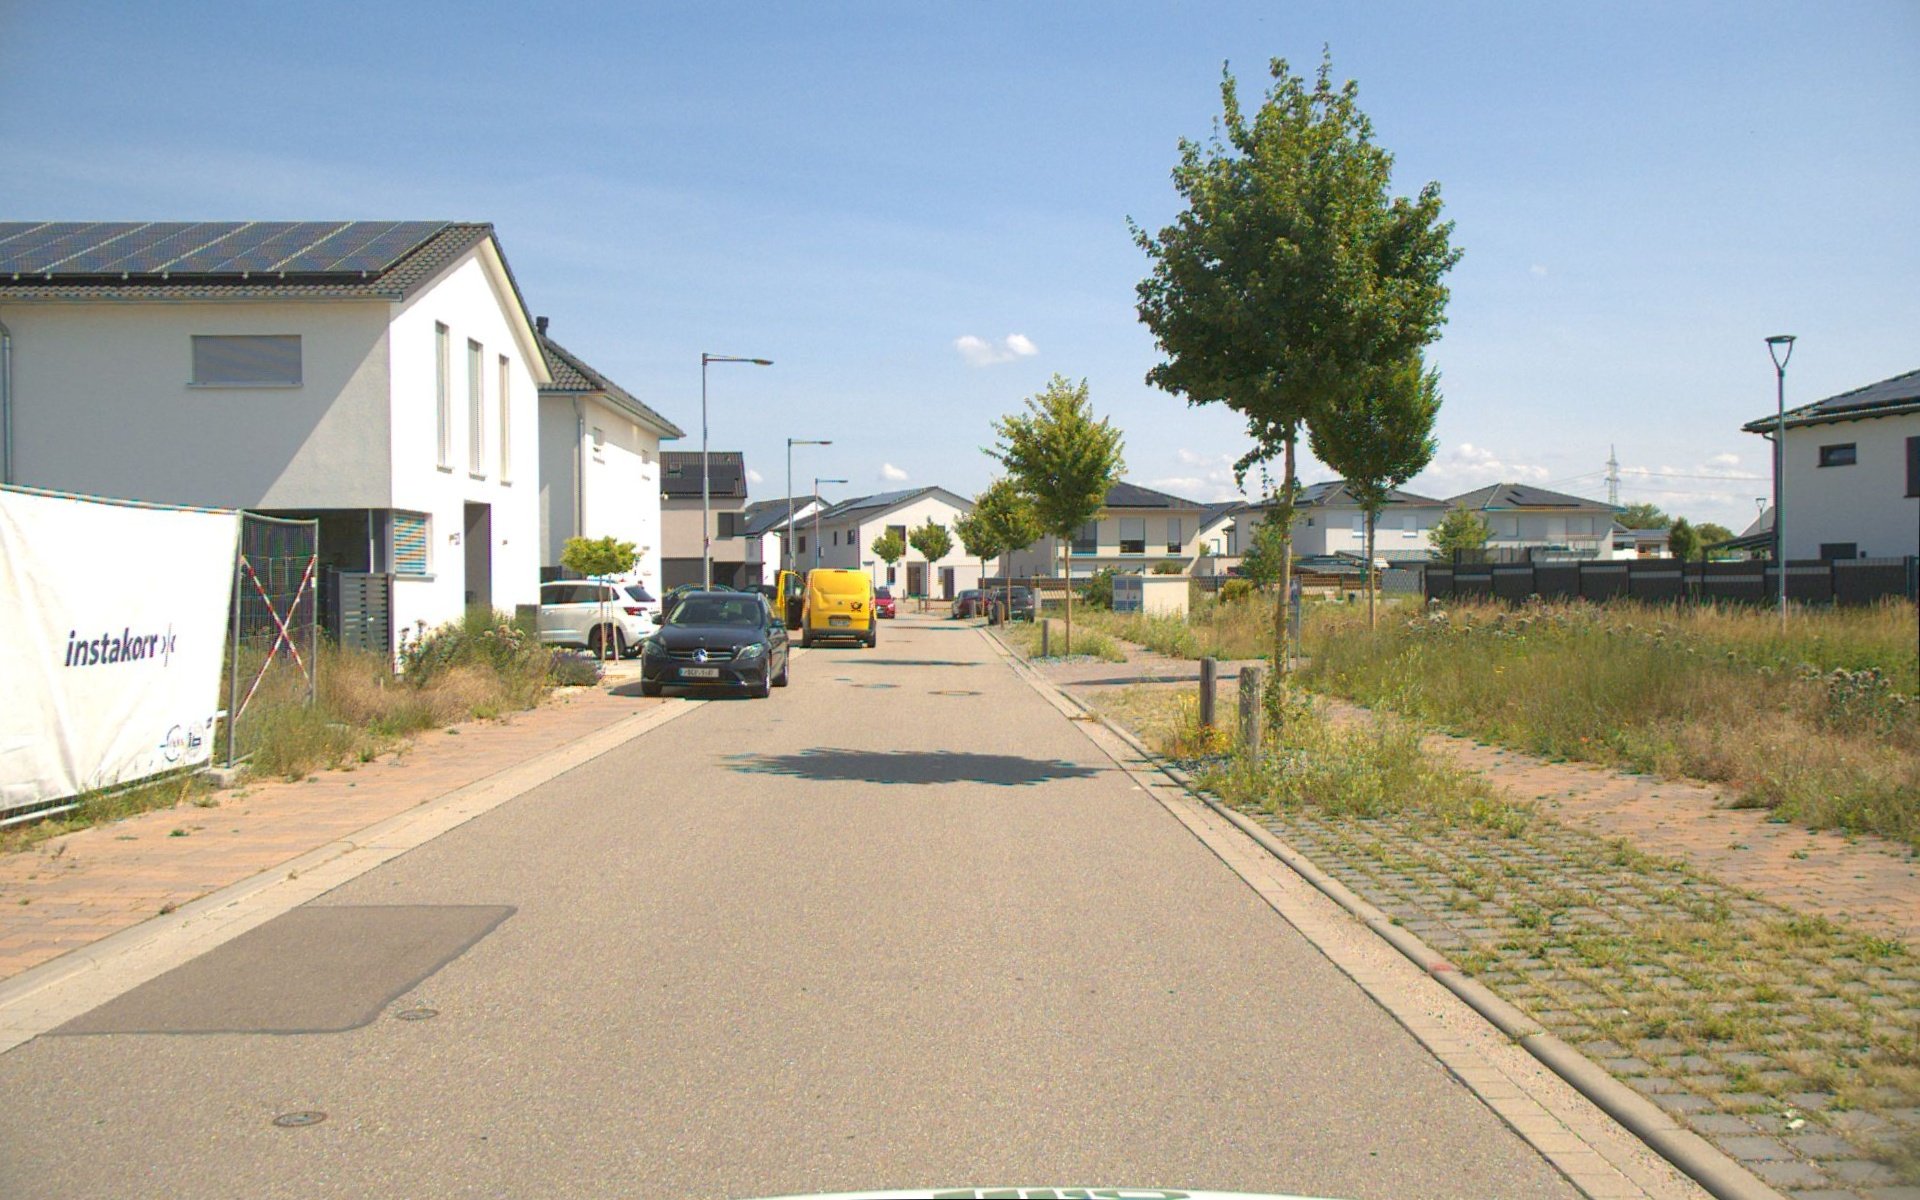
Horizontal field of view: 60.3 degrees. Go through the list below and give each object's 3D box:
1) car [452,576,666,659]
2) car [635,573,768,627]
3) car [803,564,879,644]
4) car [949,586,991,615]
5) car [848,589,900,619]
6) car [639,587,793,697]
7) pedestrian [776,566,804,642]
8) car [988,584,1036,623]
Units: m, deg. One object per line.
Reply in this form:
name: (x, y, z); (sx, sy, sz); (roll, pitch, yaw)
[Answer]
car: (-8.345, 0.340, 34.618); (3.983, 1.609, 1.785); (1, 1, 4)
car: (-8.613, 0.008, 54.989); (4.095, 1.531, 1.807); (3, -1, -17)
car: (-3.212, 0.111, 44.370); (1.903, 2.016, 4.213); (-1, 0, -5)
car: (0.493, 0.021, 83.136); (1.597, 1.346, 3.826); (-1, -2, -8)
car: (-4.412, 0.194, 83.928); (1.958, 1.456, 4.687); (-1, 0, -11)
car: (-3.506, 0.557, 24.432); (1.710, 1.429, 4.159); (2, 1, -1)
pedestrian: (-4.666, 0.115, 45.474); (0.638, 2.049, 1.123); (-1, -1, -1)
car: (1.991, 0.167, 64.550); (1.606, 1.427, 3.809); (-1, -1, -2)
